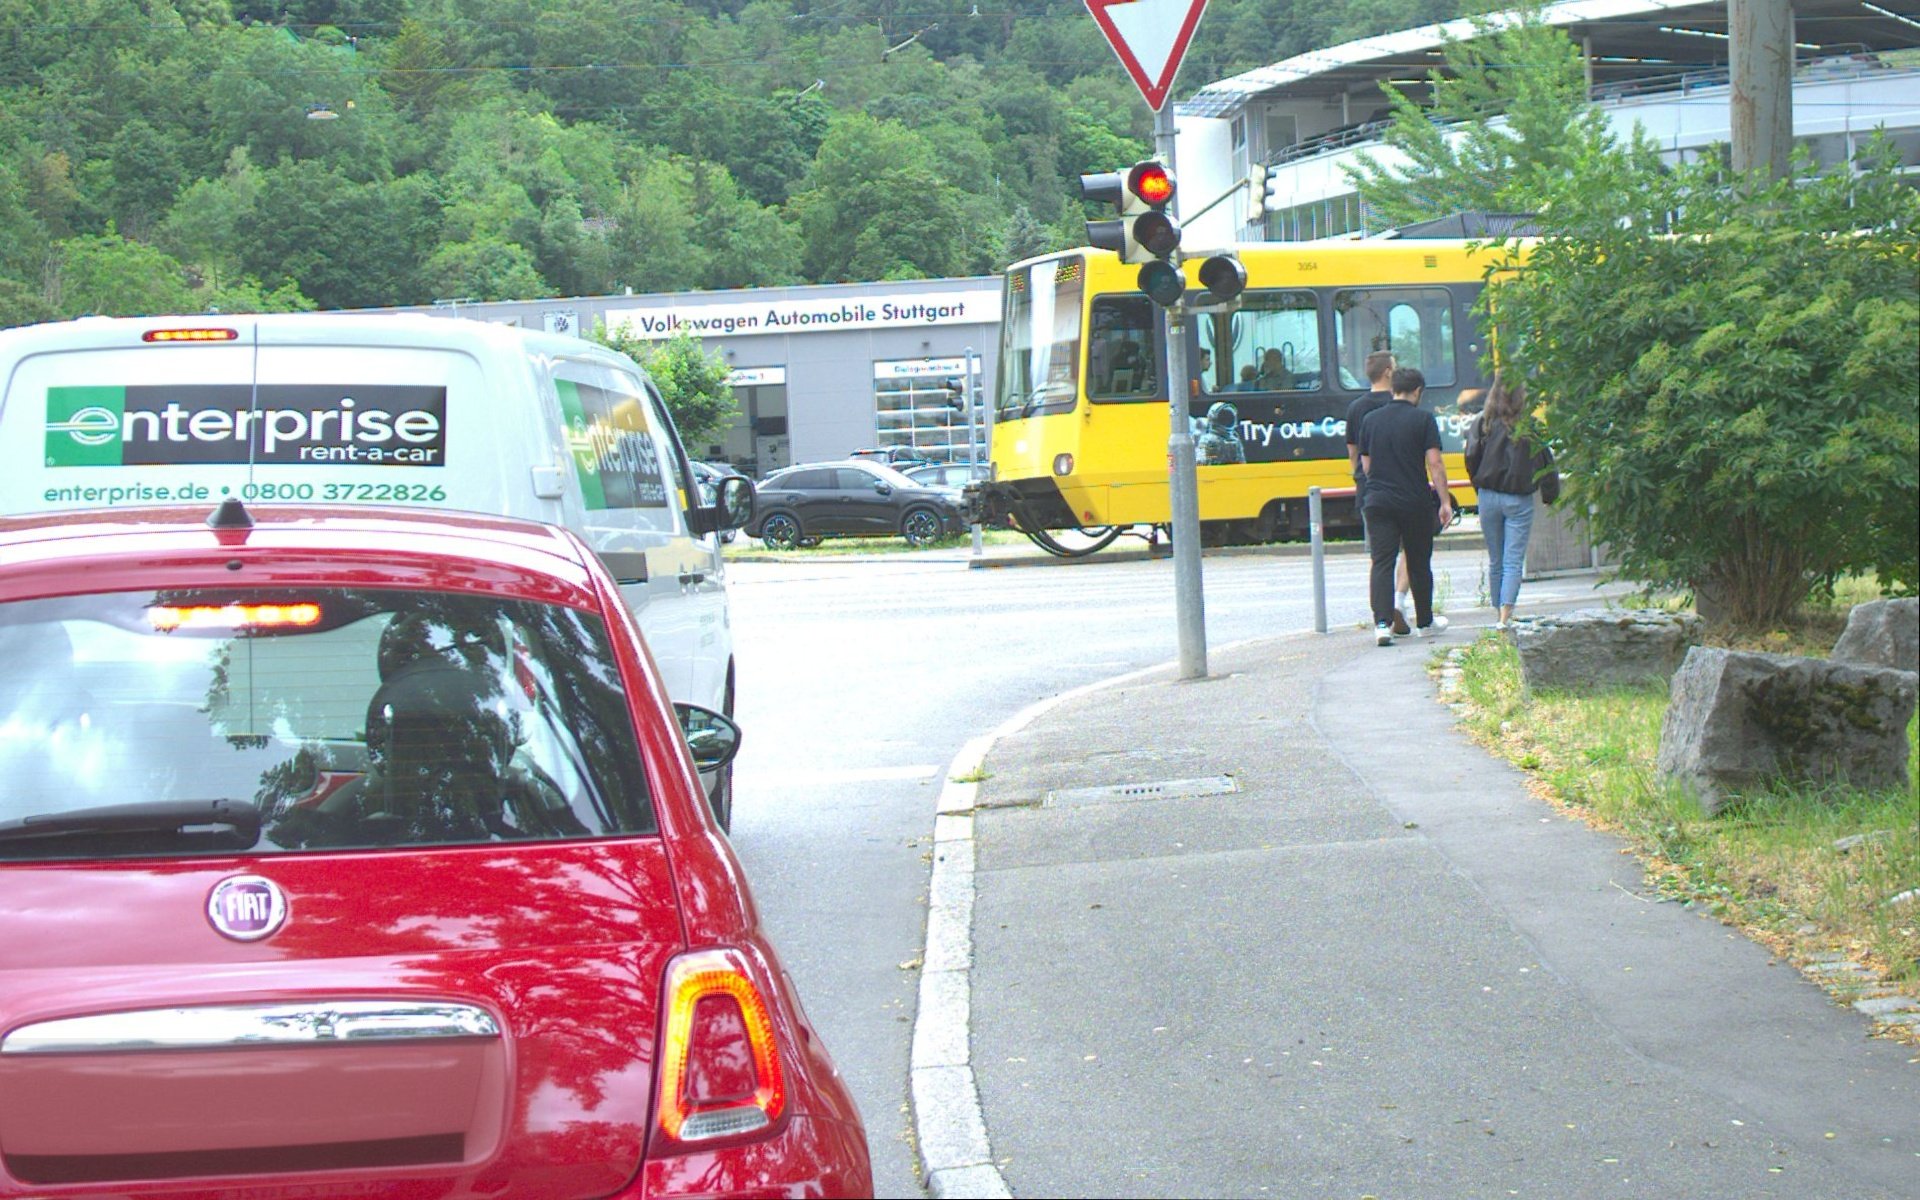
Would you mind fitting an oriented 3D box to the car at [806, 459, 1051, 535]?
[{"bbox_3d":[-0.635,-2.116,70.392,4.674,1.323,1.775,-2,2,14],"label":"car"}]

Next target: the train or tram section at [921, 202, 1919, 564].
[{"bbox_3d":[9.073,-2.777,41.235,19.108,3.653,3.279,-3,2,-22],"label":"train or tram section"}]

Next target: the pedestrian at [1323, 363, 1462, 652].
[{"bbox_3d":[2.657,-0.571,21.062,0.693,1.708,0.788,-2,2,13],"label":"pedestrian"}]

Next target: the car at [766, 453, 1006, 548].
[{"bbox_3d":[-1.312,-1.777,61.380,3.871,1.495,1.774,-2,2,17],"label":"car"}]

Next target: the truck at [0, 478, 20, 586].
[{"bbox_3d":[-23.736,-1.388,76.139,5.183,2.385,2.000,-4,3,-28],"label":"truck"}]

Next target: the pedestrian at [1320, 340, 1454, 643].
[{"bbox_3d":[2.707,-0.689,21.720,0.693,1.850,0.788,-3,2,12],"label":"pedestrian"}]

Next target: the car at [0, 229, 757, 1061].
[{"bbox_3d":[-1.922,0.038,11.372,1.989,2.099,4.762,-3,2,2],"label":"car"}]

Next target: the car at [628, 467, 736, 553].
[{"bbox_3d":[-6.350,-2.093,78.832,1.993,1.809,4.000,-3,2,1],"label":"car"}]

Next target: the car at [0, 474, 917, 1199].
[{"bbox_3d":[-1.195,0.561,5.531,1.638,1.451,3.432,-2,2,-11],"label":"car"}]

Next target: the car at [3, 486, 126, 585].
[{"bbox_3d":[-17.777,-1.312,68.403,1.859,1.811,4.404,-3,2,-9],"label":"car"}]

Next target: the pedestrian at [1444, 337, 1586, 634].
[{"bbox_3d":[3.367,-0.697,20.816,0.693,1.733,0.788,-2,2,16],"label":"pedestrian"}]
